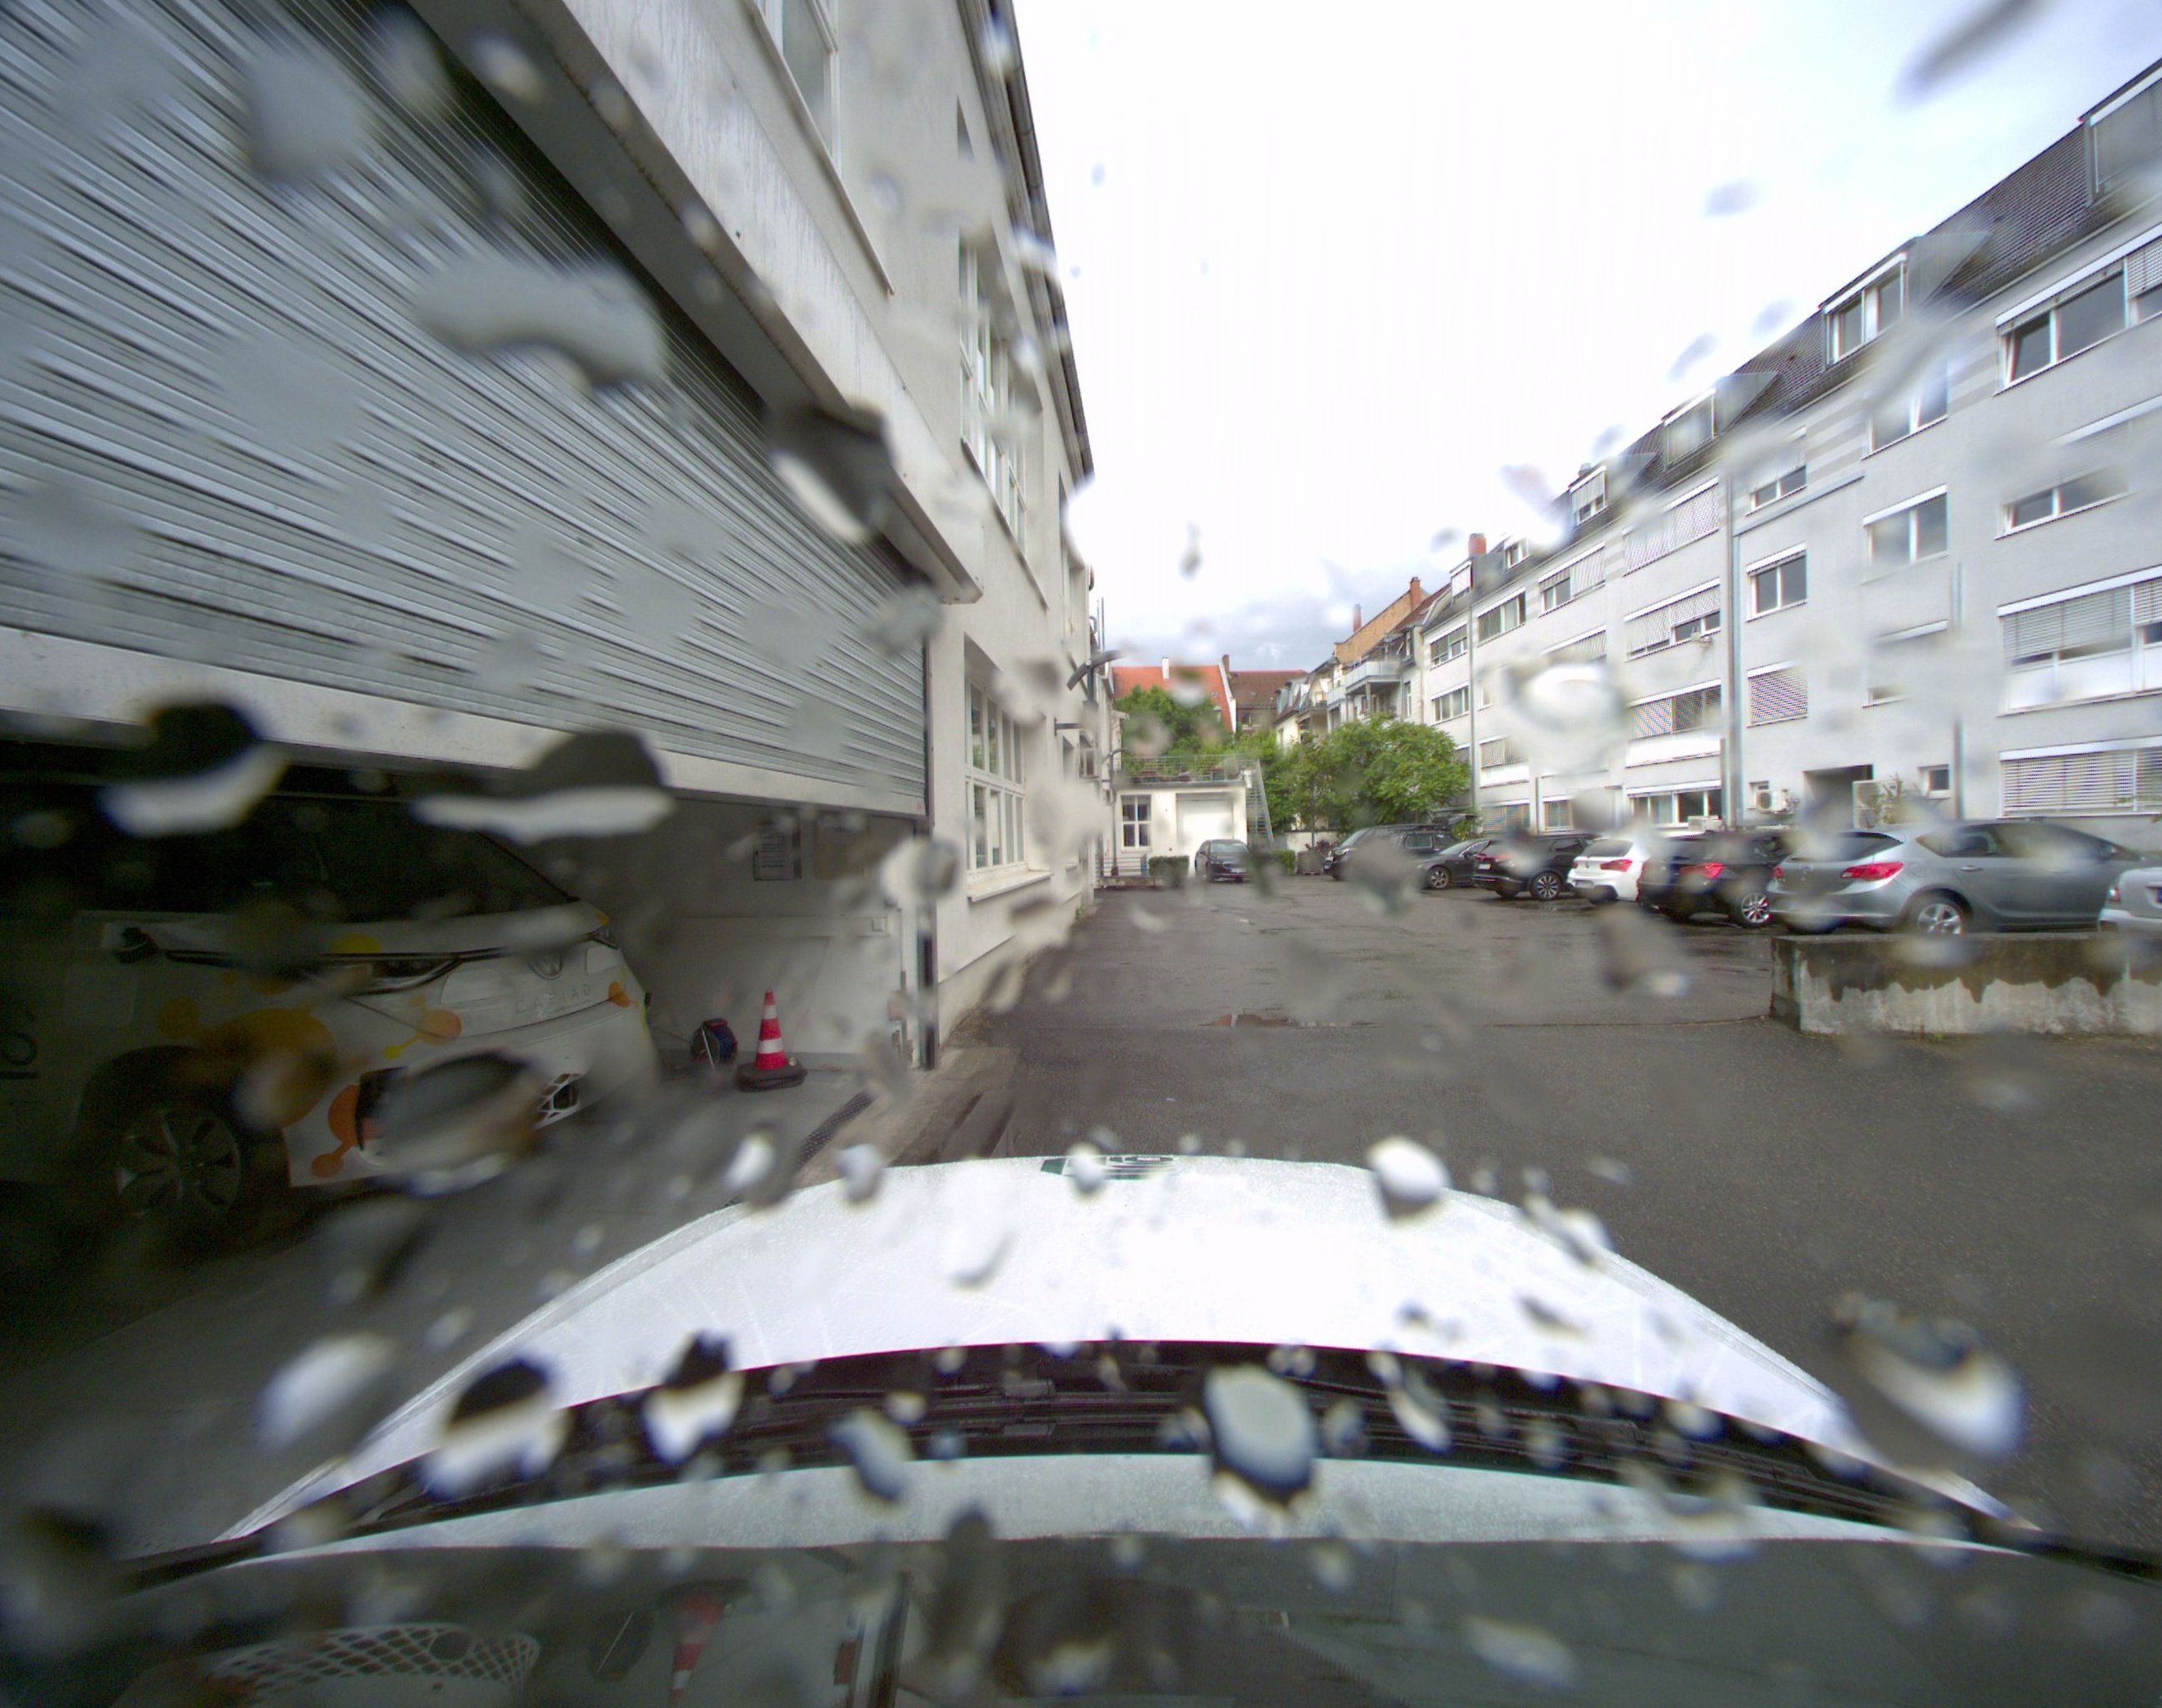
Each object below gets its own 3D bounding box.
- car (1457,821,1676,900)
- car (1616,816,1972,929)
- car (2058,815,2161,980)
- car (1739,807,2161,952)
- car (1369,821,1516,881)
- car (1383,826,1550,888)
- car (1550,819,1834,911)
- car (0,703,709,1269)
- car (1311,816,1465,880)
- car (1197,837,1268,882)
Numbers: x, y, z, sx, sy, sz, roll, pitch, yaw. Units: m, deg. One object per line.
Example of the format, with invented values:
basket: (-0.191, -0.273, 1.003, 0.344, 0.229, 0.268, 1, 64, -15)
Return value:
car: (10.945, 0.141, 18.538, 3.899, 1.513, 1.818, -3, 0, -3)
car: (10.885, 0.248, 12.651, 3.974, 1.403, 1.773, -3, 1, 0)
car: (11.147, 0.294, 6.980, 3.402, 1.427, 1.689, -3, 0, 2)
car: (10.803, 0.267, 9.975, 3.972, 1.445, 1.807, -3, 1, 1)
car: (11.598, -0.083, 26.339, 3.892, 1.687, 1.819, -3, 0, 3)
car: (10.840, 0.082, 23.086, 3.896, 1.513, 1.752, -3, 0, 0)
car: (11.266, 0.185, 15.222, 3.975, 1.458, 1.773, -2, 0, -1)
car: (-4.702, 0.467, 4.095, 4.668, 2.013, 2.088, 0, 1, 4)
car: (10.918, -0.232, 29.167, 4.629, 2.003, 2.221, -3, 1, -6)
car: (5.359, 0.148, 29.226, 1.971, 1.444, 4.004, -1, 1, 3)
